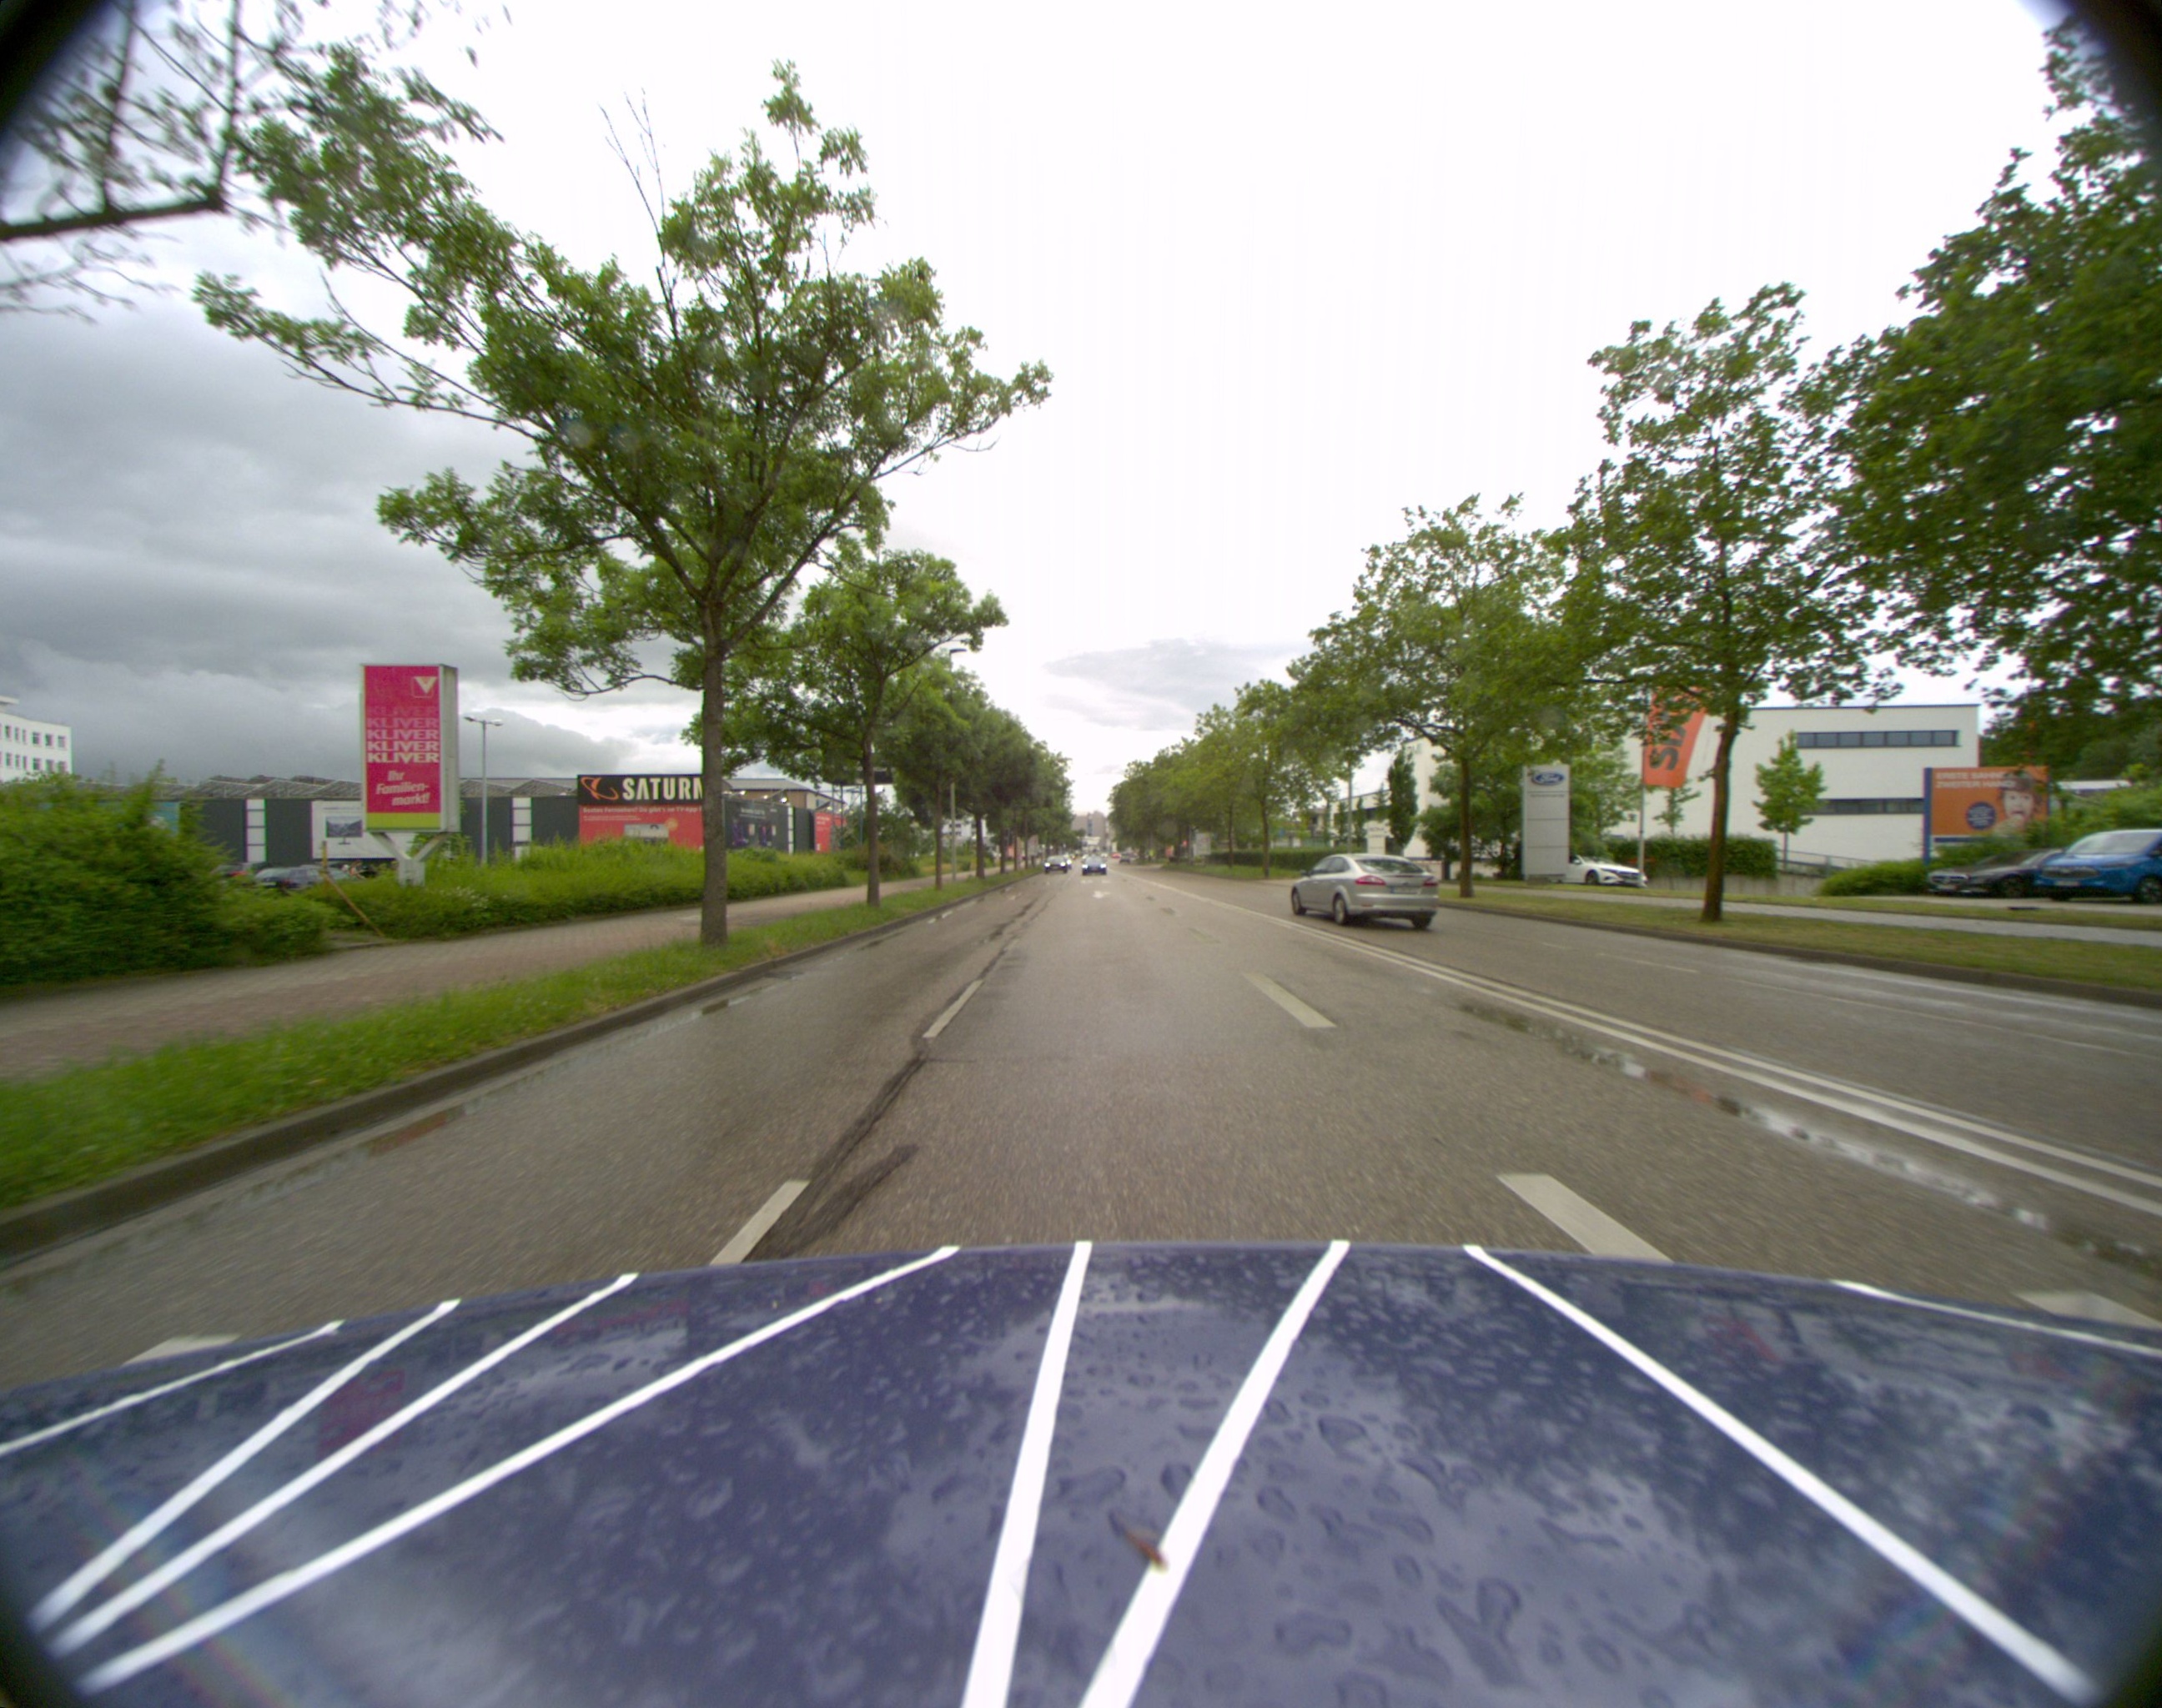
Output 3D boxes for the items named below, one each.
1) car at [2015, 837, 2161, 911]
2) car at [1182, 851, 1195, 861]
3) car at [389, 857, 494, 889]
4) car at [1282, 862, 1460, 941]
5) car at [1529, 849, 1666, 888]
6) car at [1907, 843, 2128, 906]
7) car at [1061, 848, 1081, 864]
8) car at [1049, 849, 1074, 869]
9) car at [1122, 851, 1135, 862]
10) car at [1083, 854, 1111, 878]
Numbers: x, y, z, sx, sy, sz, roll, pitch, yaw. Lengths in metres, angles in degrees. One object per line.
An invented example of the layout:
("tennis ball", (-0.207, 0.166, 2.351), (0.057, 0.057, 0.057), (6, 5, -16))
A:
("car", (28.286, 0.494, 20.385), (3.997, 1.878, 1.963), (0, 0, 1))
("car", (18.870, 0.337, 133.036), (1.746, 1.524, 4.000), (2, 1, 2))
("car", (-33.504, 0.951, 39.995), (1.909, 1.565, 4.363), (-1, 0, -2))
("car", (6.028, 0.912, 16.511), (1.999, 1.421, 4.684), (0, 0, -1))
("car", (21.219, 0.550, 31.567), (2.123, 1.487, 5.246), (0, 0, -1))
("car", (28.356, 0.584, 23.135), (4.136, 1.803, 2.066), (0, 0, 1))
("car", (-1.029, 0.217, 81.957), (1.998, 1.632, 4.360), (-2, 1, 1))
("car", (-1.709, 0.413, 67.640), (1.998, 1.632, 4.360), (-2, 1, 1))
("car", (8.523, 0.428, 137.469), (1.916, 1.795, 5.340), (1, 0, -1))
("car", (1.193, 0.906, 57.758), (1.998, 1.632, 4.360), (-2, 1, 1))
